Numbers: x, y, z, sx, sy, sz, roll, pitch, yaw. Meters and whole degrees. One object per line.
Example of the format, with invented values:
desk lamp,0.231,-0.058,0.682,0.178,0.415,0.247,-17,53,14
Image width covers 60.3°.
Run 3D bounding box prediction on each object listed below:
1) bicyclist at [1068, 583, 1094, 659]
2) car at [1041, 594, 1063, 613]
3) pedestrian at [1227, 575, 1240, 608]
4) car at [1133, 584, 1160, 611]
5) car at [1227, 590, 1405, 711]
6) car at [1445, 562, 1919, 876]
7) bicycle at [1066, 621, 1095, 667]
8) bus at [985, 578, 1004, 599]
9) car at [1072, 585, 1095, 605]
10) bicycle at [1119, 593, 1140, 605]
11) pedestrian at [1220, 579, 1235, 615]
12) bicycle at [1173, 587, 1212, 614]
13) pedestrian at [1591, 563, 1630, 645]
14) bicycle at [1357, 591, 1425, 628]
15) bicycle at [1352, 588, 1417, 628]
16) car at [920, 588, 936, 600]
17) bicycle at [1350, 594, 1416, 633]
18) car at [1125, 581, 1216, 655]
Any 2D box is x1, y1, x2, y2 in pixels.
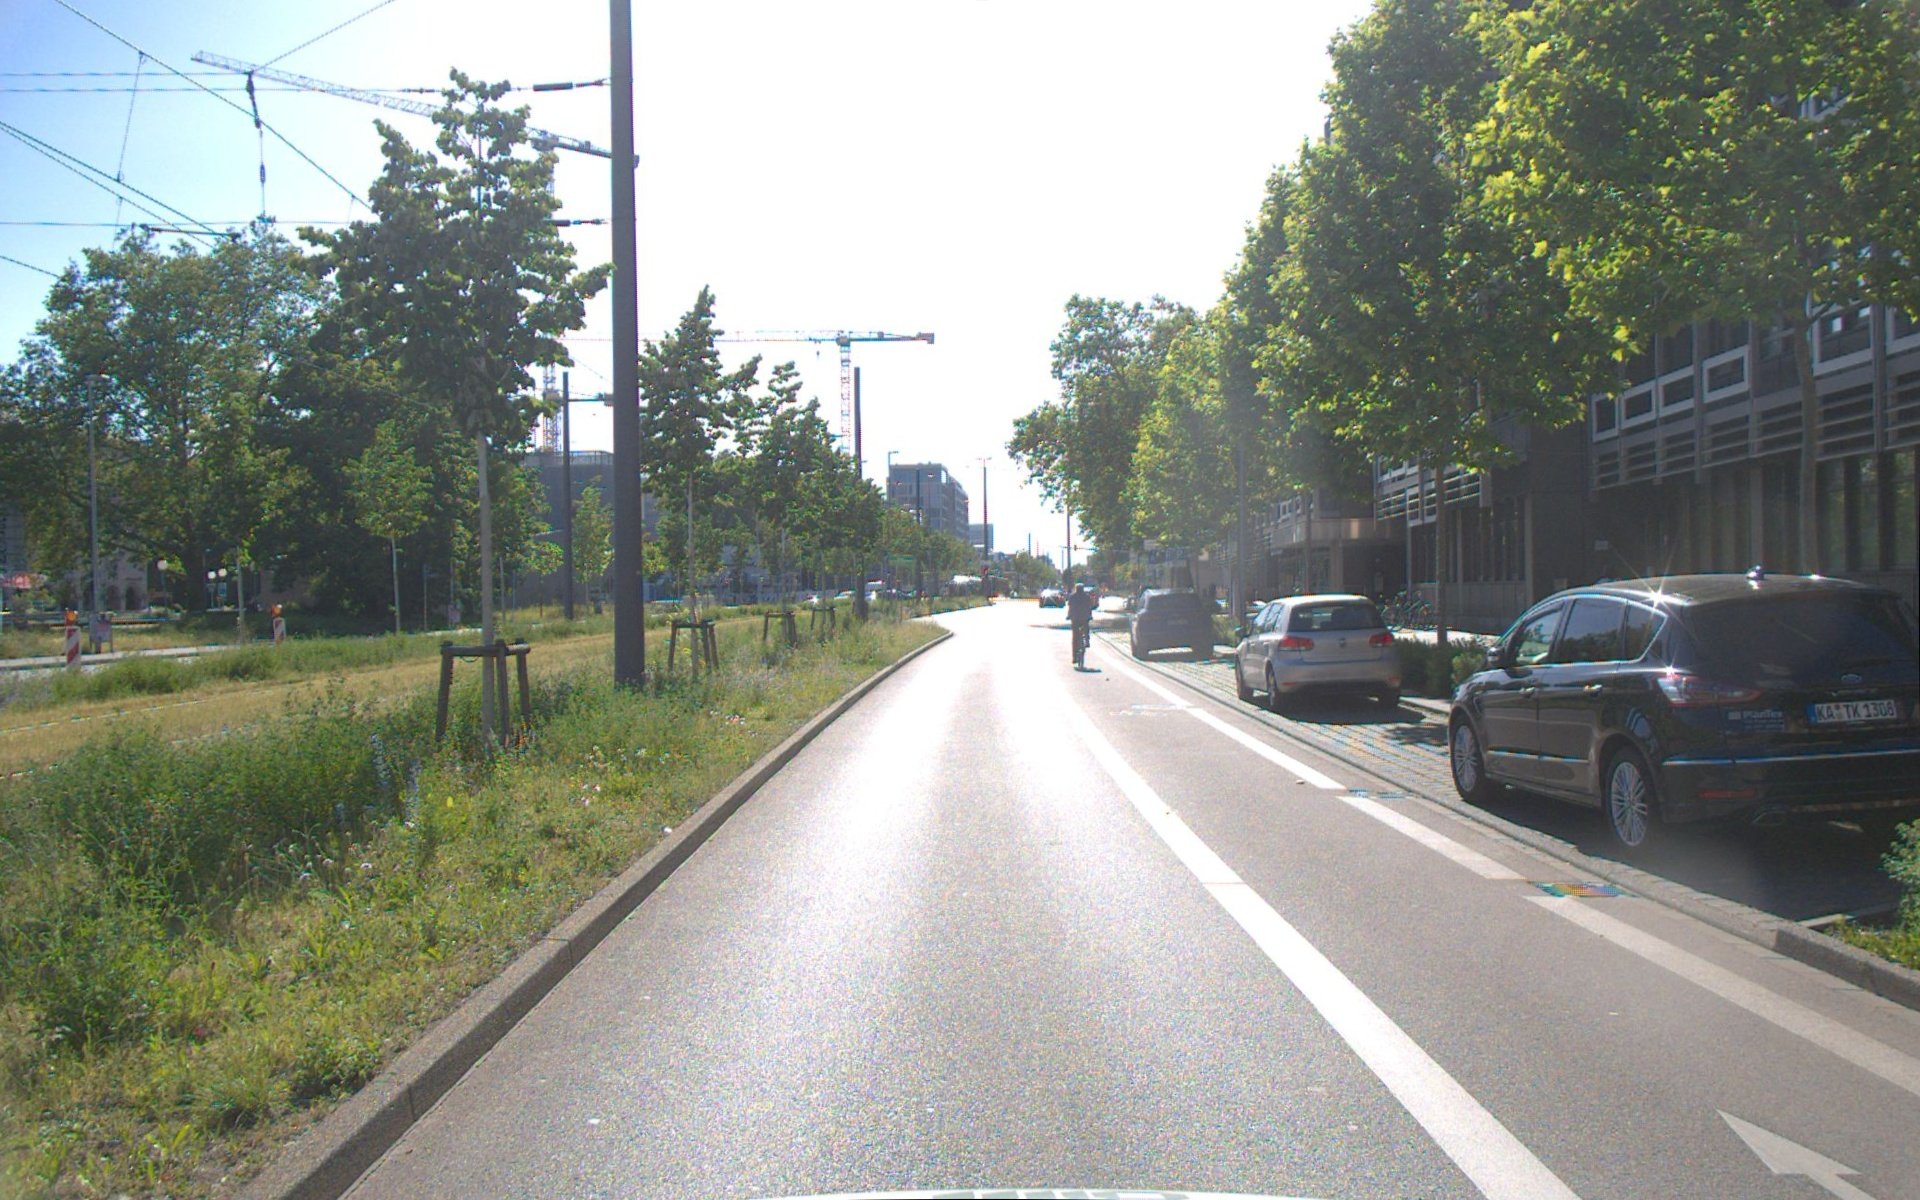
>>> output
bicyclist,2.627,0.460,35.916,0.502,1.629,0.536,-1,0,0
car,7.916,0.294,141.961,1.872,1.512,4.012,-1,1,4
pedestrian,14.587,-0.480,88.277,0.500,1.730,0.774,-3,0,4
car,13.117,-0.200,116.373,1.668,1.821,4.195,-3,0,5
car,4.918,0.638,23.366,1.585,1.490,4.155,-2,0,0
car,4.865,0.632,11.257,1.712,1.688,4.469,-1,0,-1
bicycle,2.613,0.948,35.970,0.487,0.921,2.197,1,0,0
bus,5.166,-1.683,248.642,2.573,3.011,9.902,1,0,2
car,10.308,-0.433,137.916,1.685,1.646,4.189,-1,1,7
bicycle,14.065,-0.084,137.531,1.658,0.974,0.478,-2,0,1
pedestrian,11.399,-0.135,70.397,0.500,1.500,0.736,-2,0,4
bicycle,12.218,0.030,86.869,1.897,1.258,0.579,-4,0,2
pedestrian,13.528,0.076,34.394,0.500,1.651,0.674,-3,0,4
bicycle,12.380,0.277,47.539,1.818,0.955,0.427,-3,0,6
bicycle,12.874,0.230,50.231,1.818,1.117,0.427,-3,0,6
car,-3.349,-0.588,174.077,1.347,1.199,3.222,1,0,4
bicycle,12.485,0.393,48.839,1.818,1.028,0.427,-3,0,6
car,5.260,0.418,41.844,1.811,1.685,4.850,-2,0,2
